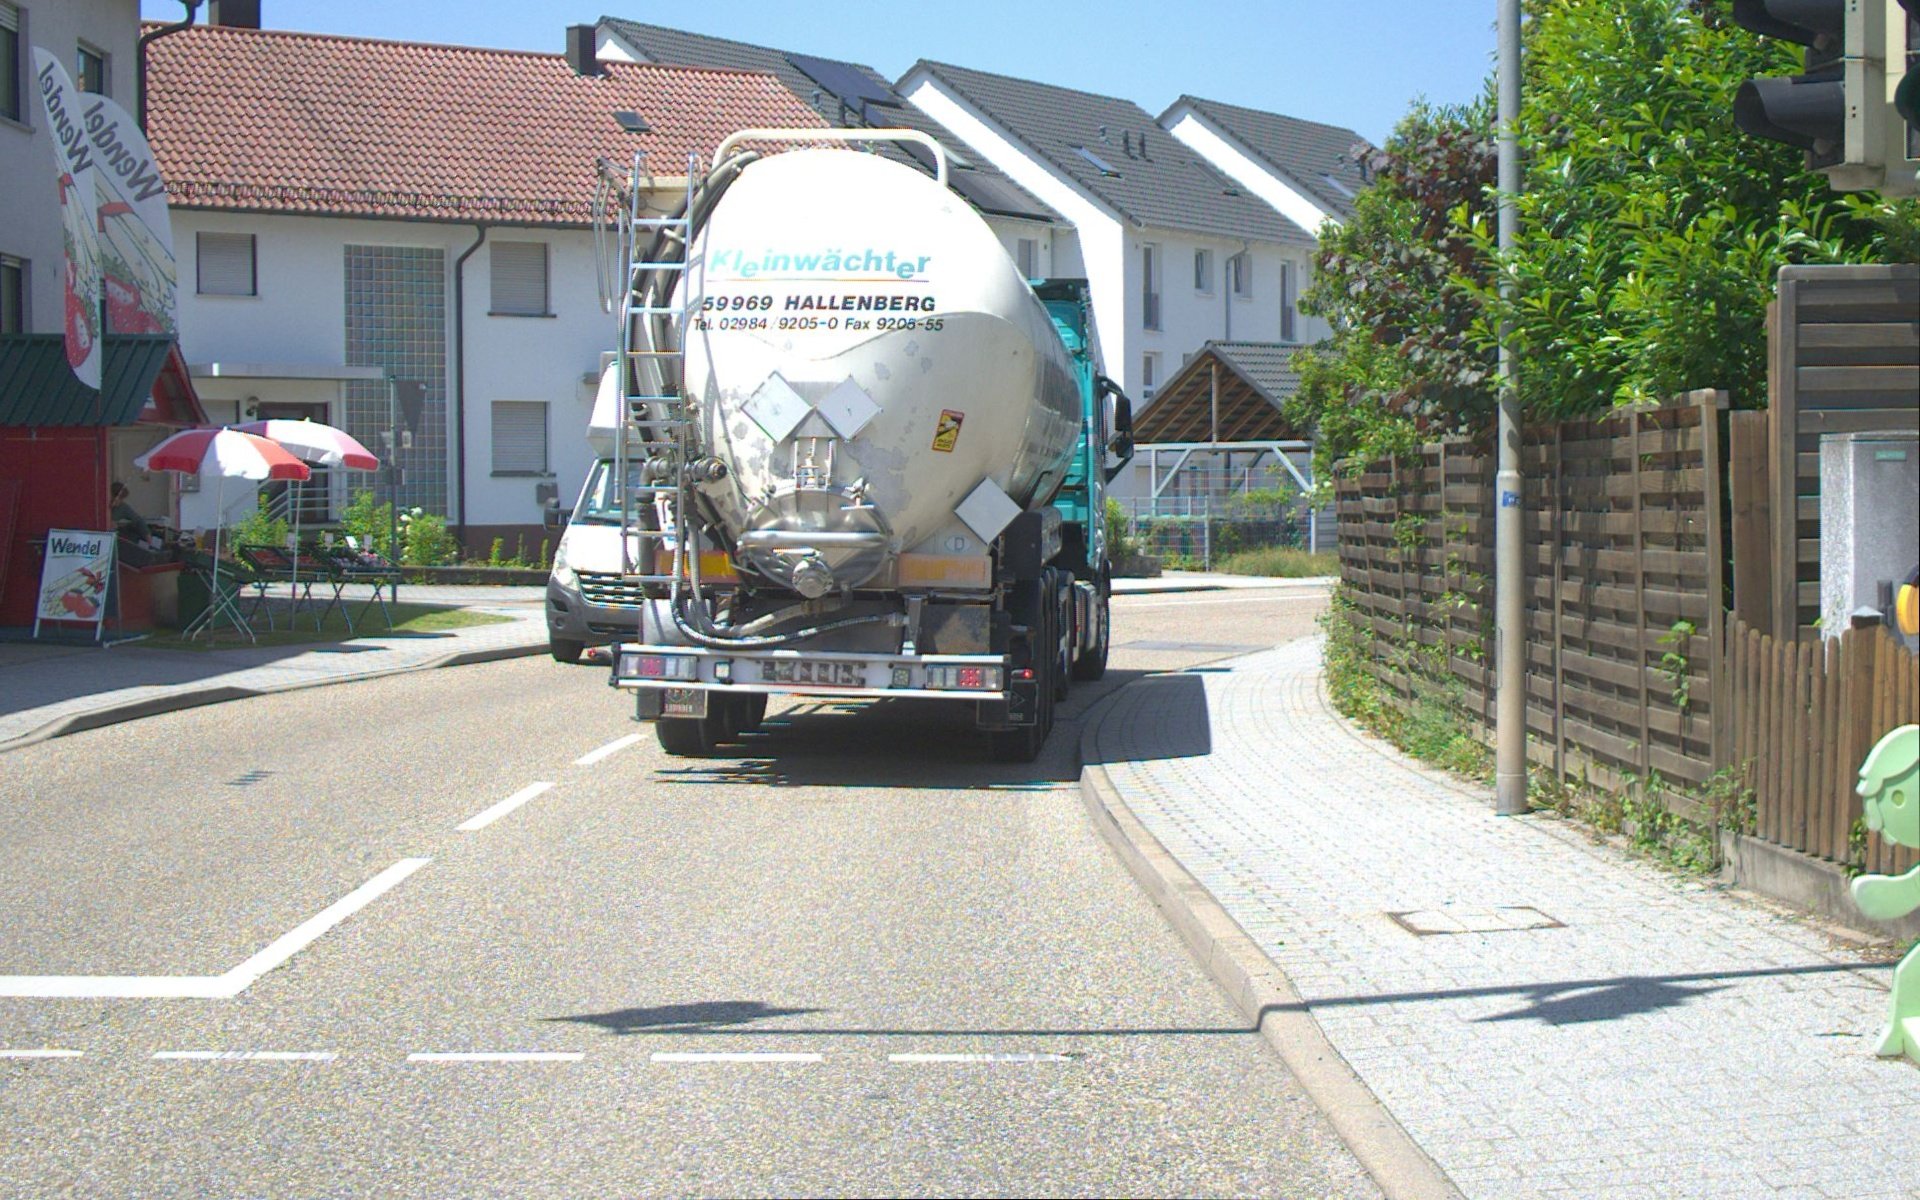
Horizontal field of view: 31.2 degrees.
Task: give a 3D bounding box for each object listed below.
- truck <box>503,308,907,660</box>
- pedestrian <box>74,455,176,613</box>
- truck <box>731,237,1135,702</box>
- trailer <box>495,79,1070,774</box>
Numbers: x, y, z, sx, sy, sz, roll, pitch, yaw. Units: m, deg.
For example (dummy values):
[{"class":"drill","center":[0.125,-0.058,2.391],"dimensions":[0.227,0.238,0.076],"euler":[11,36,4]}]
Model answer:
[{"class":"truck","center":[-2.584,-1.259,37.565],"dimensions":[2.467,3.355,7.614],"euler":[3,2,10]},{"class":"pedestrian","center":[-8.498,-0.673,34.999],"dimensions":[0.612,1.582,0.807],"euler":[1,2,32]},{"class":"truck","center":[-0.106,-1.237,33.221],"dimensions":[2.988,3.951,5.578],"euler":[-3,2,7]},{"class":"trailer","center":[-0.834,-1.157,25.503],"dimensions":[2.953,3.934,11.618],"euler":[-1,2,3]}]
